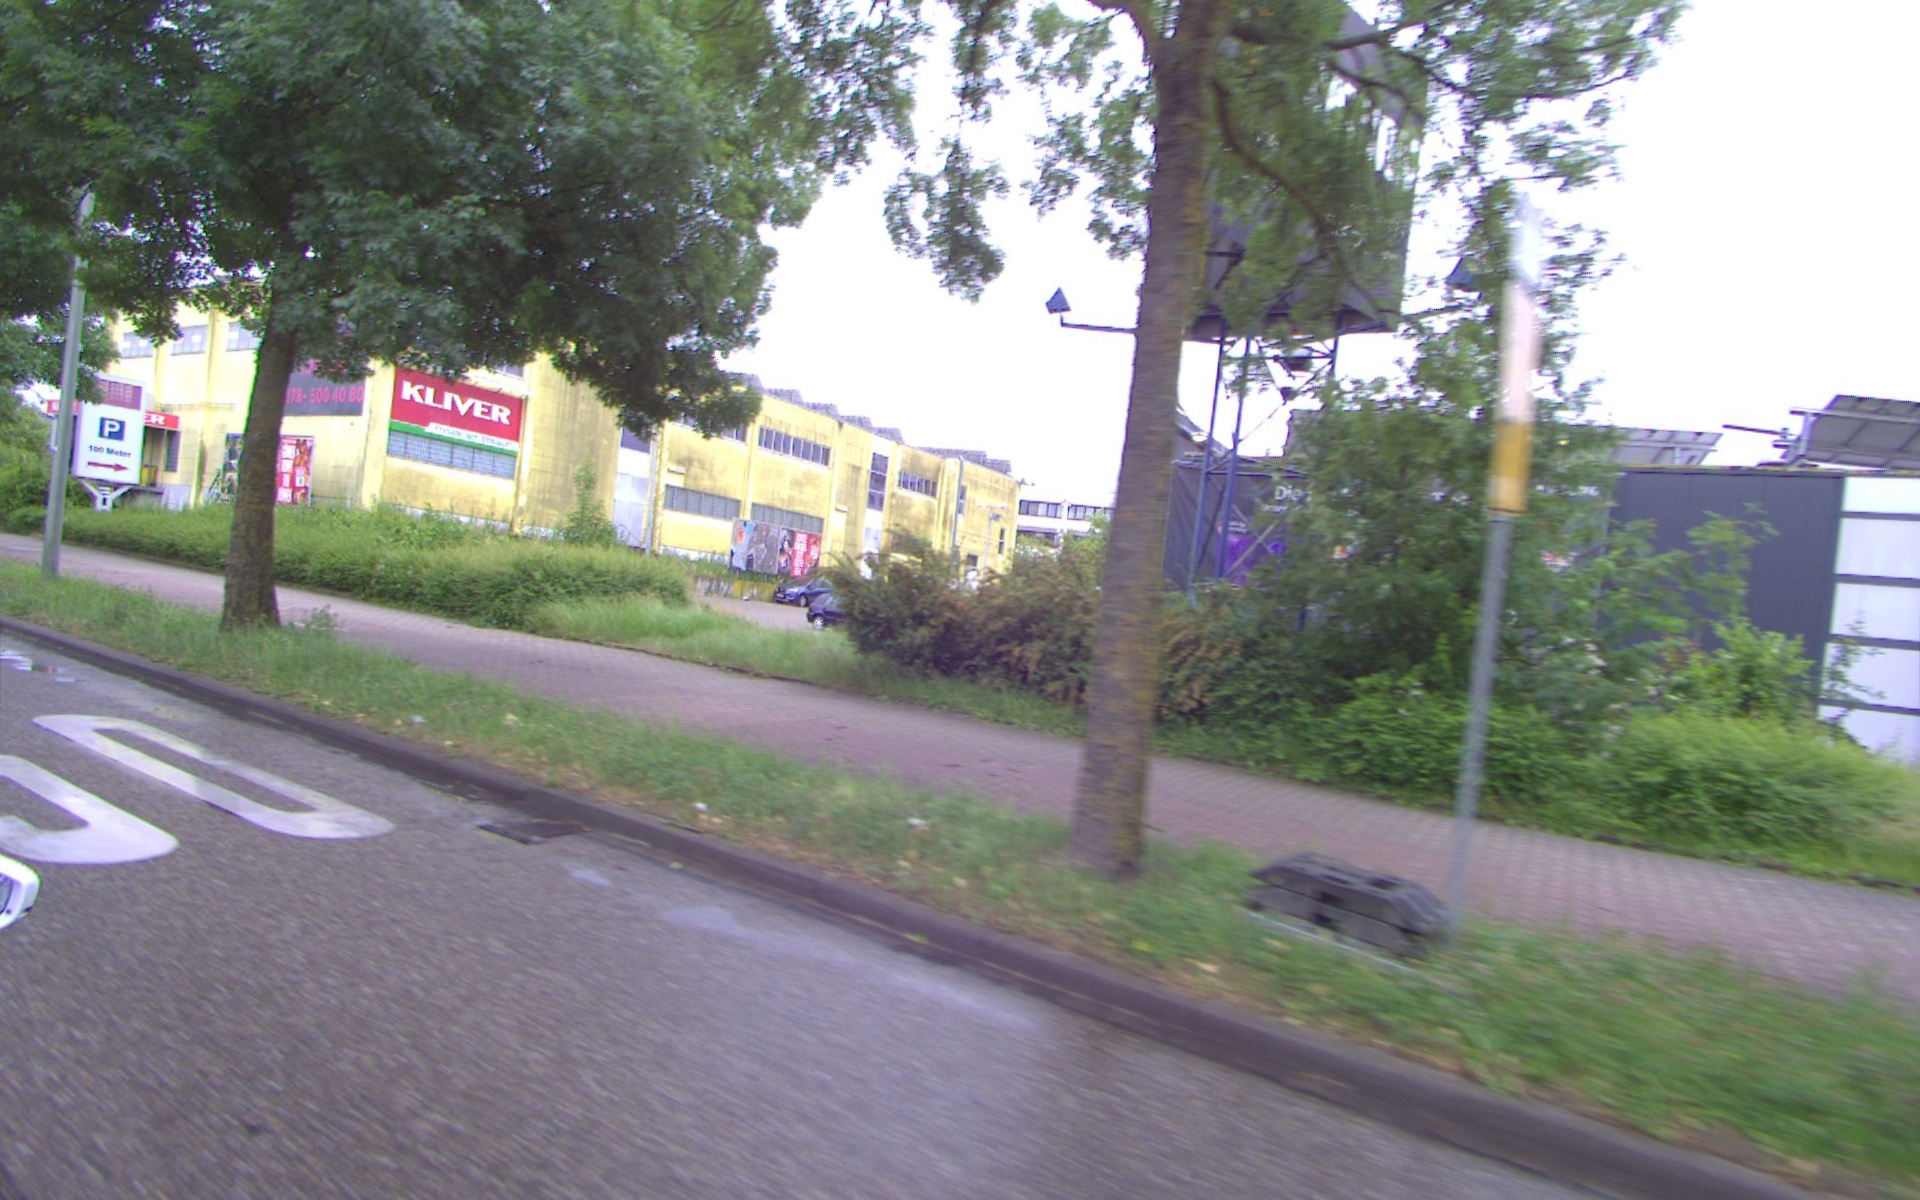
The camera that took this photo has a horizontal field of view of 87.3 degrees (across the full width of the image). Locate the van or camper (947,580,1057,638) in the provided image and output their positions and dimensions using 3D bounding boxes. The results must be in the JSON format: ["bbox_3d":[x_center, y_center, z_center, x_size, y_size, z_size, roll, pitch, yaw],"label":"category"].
[{"bbox_3d":[2.120,0.437,50.862,4.941,2.282,2.151,6,0,32],"label":"van or camper"}]

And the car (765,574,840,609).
[{"bbox_3d":[-8.725,-0.458,55.954,1.879,1.459,3.992,7,-1,32],"label":"car"}]

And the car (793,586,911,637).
[{"bbox_3d":[-3.921,0.414,36.507,3.706,1.364,1.909,7,0,25],"label":"car"}]
